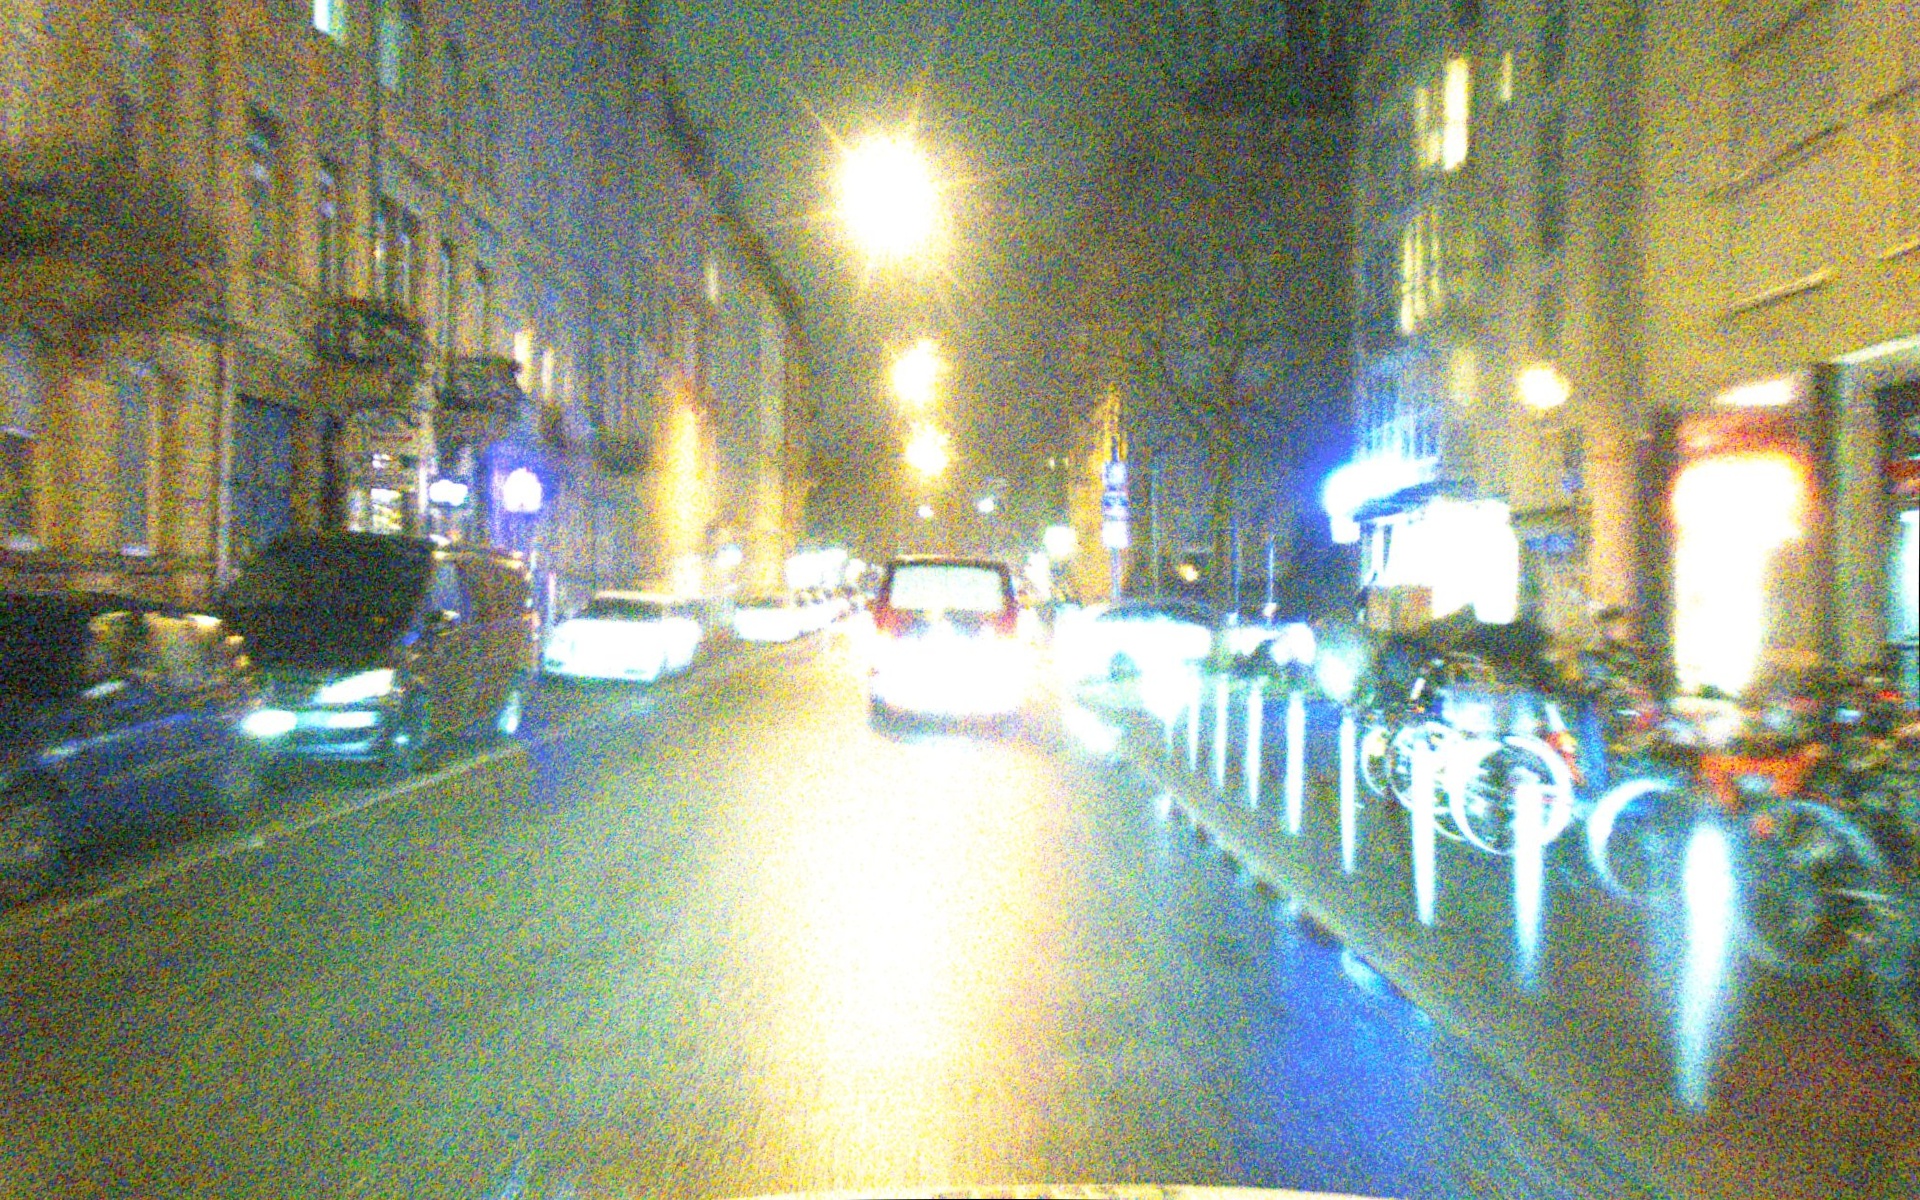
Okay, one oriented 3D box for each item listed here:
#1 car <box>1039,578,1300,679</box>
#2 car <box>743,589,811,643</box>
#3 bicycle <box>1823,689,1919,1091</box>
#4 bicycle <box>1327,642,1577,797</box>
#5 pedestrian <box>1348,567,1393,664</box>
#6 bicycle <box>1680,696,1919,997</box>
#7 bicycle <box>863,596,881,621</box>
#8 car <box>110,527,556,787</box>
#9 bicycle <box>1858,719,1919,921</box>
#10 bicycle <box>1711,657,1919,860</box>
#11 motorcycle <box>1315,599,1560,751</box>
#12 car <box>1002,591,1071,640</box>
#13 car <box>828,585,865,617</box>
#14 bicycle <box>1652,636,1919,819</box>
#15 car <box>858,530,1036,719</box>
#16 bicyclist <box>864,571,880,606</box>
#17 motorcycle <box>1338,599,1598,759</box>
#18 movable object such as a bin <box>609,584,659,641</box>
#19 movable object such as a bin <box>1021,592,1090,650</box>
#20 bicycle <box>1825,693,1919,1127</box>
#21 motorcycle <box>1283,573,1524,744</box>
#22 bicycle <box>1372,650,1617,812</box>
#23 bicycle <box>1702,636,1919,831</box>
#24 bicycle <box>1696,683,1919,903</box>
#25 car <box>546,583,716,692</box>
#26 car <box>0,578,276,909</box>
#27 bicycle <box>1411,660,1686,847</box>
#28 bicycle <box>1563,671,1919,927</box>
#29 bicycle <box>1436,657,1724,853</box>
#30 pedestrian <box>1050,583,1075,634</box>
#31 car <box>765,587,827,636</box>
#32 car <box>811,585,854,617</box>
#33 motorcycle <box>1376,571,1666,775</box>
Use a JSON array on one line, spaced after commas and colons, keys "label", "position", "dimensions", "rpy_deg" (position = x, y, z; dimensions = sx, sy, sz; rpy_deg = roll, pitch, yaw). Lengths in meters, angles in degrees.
[{"label": "car", "position": [3.723, 0.497, 29.967], "dimensions": [4.421, 1.557, 1.780], "rpy_deg": [-3, 0, -2]}, {"label": "car", "position": [-5.484, 0.441, 49.784], "dimensions": [1.638, 1.517, 3.721], "rpy_deg": [2, 0, -1]}, {"label": "bicycle", "position": [3.709, 0.868, 5.412], "dimensions": [1.498, 1.223, 0.366], "rpy_deg": [-5, -1, -2]}, {"label": "bicycle", "position": [3.565, 0.867, 12.051], "dimensions": [1.634, 0.968, 0.366], "rpy_deg": [-5, -1, 7]}, {"label": "pedestrian", "position": [7.835, 0.289, 31.582], "dimensions": [0.688, 1.819, 0.624], "rpy_deg": [-1, 1, 2]}, {"label": "bicycle", "position": [3.712, 0.931, 6.544], "dimensions": [1.498, 1.041, 0.366], "rpy_deg": [-5, -1, -2]}, {"label": "bicycle", "position": [-3.997, 0.384, 74.930], "dimensions": [0.712, 1.091, 2.348], "rpy_deg": [0, 0, -1]}, {"label": "car", "position": [-5.181, 0.390, 14.604], "dimensions": [1.955, 1.861, 5.206], "rpy_deg": [1, 0, 0]}, {"label": "bicycle", "position": [4.910, 0.923, 7.419], "dimensions": [1.497, 0.848, 0.325], "rpy_deg": [-5, -1, 3]}, {"label": "bicycle", "position": [5.002, 0.847, 9.139], "dimensions": [1.499, 0.968, 0.366], "rpy_deg": [-5, -1, -5]}, {"label": "motorcycle", "position": [4.751, 0.730, 16.561], "dimensions": [2.129, 1.341, 0.866], "rpy_deg": [-4, 0, -1]}, {"label": "car", "position": [2.408, 0.467, 52.942], "dimensions": [1.953, 1.489, 4.416], "rpy_deg": [0, 0, -1]}, {"label": "car", "position": [-6.397, 0.032, 93.196], "dimensions": [1.795, 1.747, 4.594], "rpy_deg": [1, 0, -1]}, {"label": "bicycle", "position": [5.145, 0.777, 10.267], "dimensions": [1.499, 0.968, 0.366], "rpy_deg": [-5, -1, -5]}, {"label": "car", "position": [-0.153, 0.254, 20.820], "dimensions": [1.955, 2.084, 4.694], "rpy_deg": [1, 0, 0]}, {"label": "bicyclist", "position": [-3.977, -0.507, 74.928], "dimensions": [0.704, 1.583, 0.895], "rpy_deg": [0, 0, -1]}, {"label": "motorcycle", "position": [4.768, 0.724, 15.629], "dimensions": [2.129, 1.341, 0.866], "rpy_deg": [-4, 0, -1]}, {"label": "movable object such as a bin", "position": [-8.521, 0.314, 43.331], "dimensions": [1.079, 1.479, 1.378], "rpy_deg": [0, 0, -3]}, {"label": "movable object such as a bin", "position": [2.449, 0.525, 42.432], "dimensions": [1.327, 1.454, 1.185], "rpy_deg": [0, 0, -37]}, {"label": "bicycle", "position": [3.495, 0.856, 4.957], "dimensions": [1.497, 1.223, 0.366], "rpy_deg": [-5, -1, 2]}, {"label": "motorcycle", "position": [4.663, 0.602, 17.501], "dimensions": [2.242, 1.616, 0.866], "rpy_deg": [-3, 0, -1]}, {"label": "bicycle", "position": [3.691, 0.906, 11.487], "dimensions": [1.496, 0.968, 0.366], "rpy_deg": [-5, -1, 7]}, {"label": "bicycle", "position": [5.149, 0.752, 9.580], "dimensions": [1.499, 0.968, 0.366], "rpy_deg": [-5, -1, -6]}, {"label": "bicycle", "position": [4.575, 0.943, 8.313], "dimensions": [1.497, 0.968, 0.366], "rpy_deg": [-5, -1, 3]}, {"label": "car", "position": [-5.279, 0.543, 27.154], "dimensions": [1.731, 1.508, 4.772], "rpy_deg": [4, 1, 0]}, {"label": "car", "position": [-5.104, 0.634, 8.617], "dimensions": [1.537, 1.485, 3.720], "rpy_deg": [1, 0, 0]}, {"label": "bicycle", "position": [3.590, 0.926, 10.118], "dimensions": [1.499, 0.968, 0.366], "rpy_deg": [-5, -1, -5]}, {"label": "bicycle", "position": [3.725, 0.935, 7.850], "dimensions": [1.497, 1.041, 0.366], "rpy_deg": [-5, -1, 3]}, {"label": "bicycle", "position": [3.616, 0.893, 9.674], "dimensions": [1.499, 0.968, 0.366], "rpy_deg": [-5, -1, -5]}, {"label": "pedestrian", "position": [3.788, 0.317, 61.082], "dimensions": [0.844, 1.819, 1.083], "rpy_deg": [-1, 1, 2]}, {"label": "car", "position": [-5.625, 0.365, 57.109], "dimensions": [1.738, 1.599, 4.134], "rpy_deg": [0, 0, -1]}, {"label": "car", "position": [-6.296, 0.049, 82.214], "dimensions": [1.795, 1.512, 4.594], "rpy_deg": [1, 0, -1]}, {"label": "motorcycle", "position": [4.812, 0.607, 14.294], "dimensions": [2.129, 1.574, 0.866], "rpy_deg": [-3, 0, -1]}]
